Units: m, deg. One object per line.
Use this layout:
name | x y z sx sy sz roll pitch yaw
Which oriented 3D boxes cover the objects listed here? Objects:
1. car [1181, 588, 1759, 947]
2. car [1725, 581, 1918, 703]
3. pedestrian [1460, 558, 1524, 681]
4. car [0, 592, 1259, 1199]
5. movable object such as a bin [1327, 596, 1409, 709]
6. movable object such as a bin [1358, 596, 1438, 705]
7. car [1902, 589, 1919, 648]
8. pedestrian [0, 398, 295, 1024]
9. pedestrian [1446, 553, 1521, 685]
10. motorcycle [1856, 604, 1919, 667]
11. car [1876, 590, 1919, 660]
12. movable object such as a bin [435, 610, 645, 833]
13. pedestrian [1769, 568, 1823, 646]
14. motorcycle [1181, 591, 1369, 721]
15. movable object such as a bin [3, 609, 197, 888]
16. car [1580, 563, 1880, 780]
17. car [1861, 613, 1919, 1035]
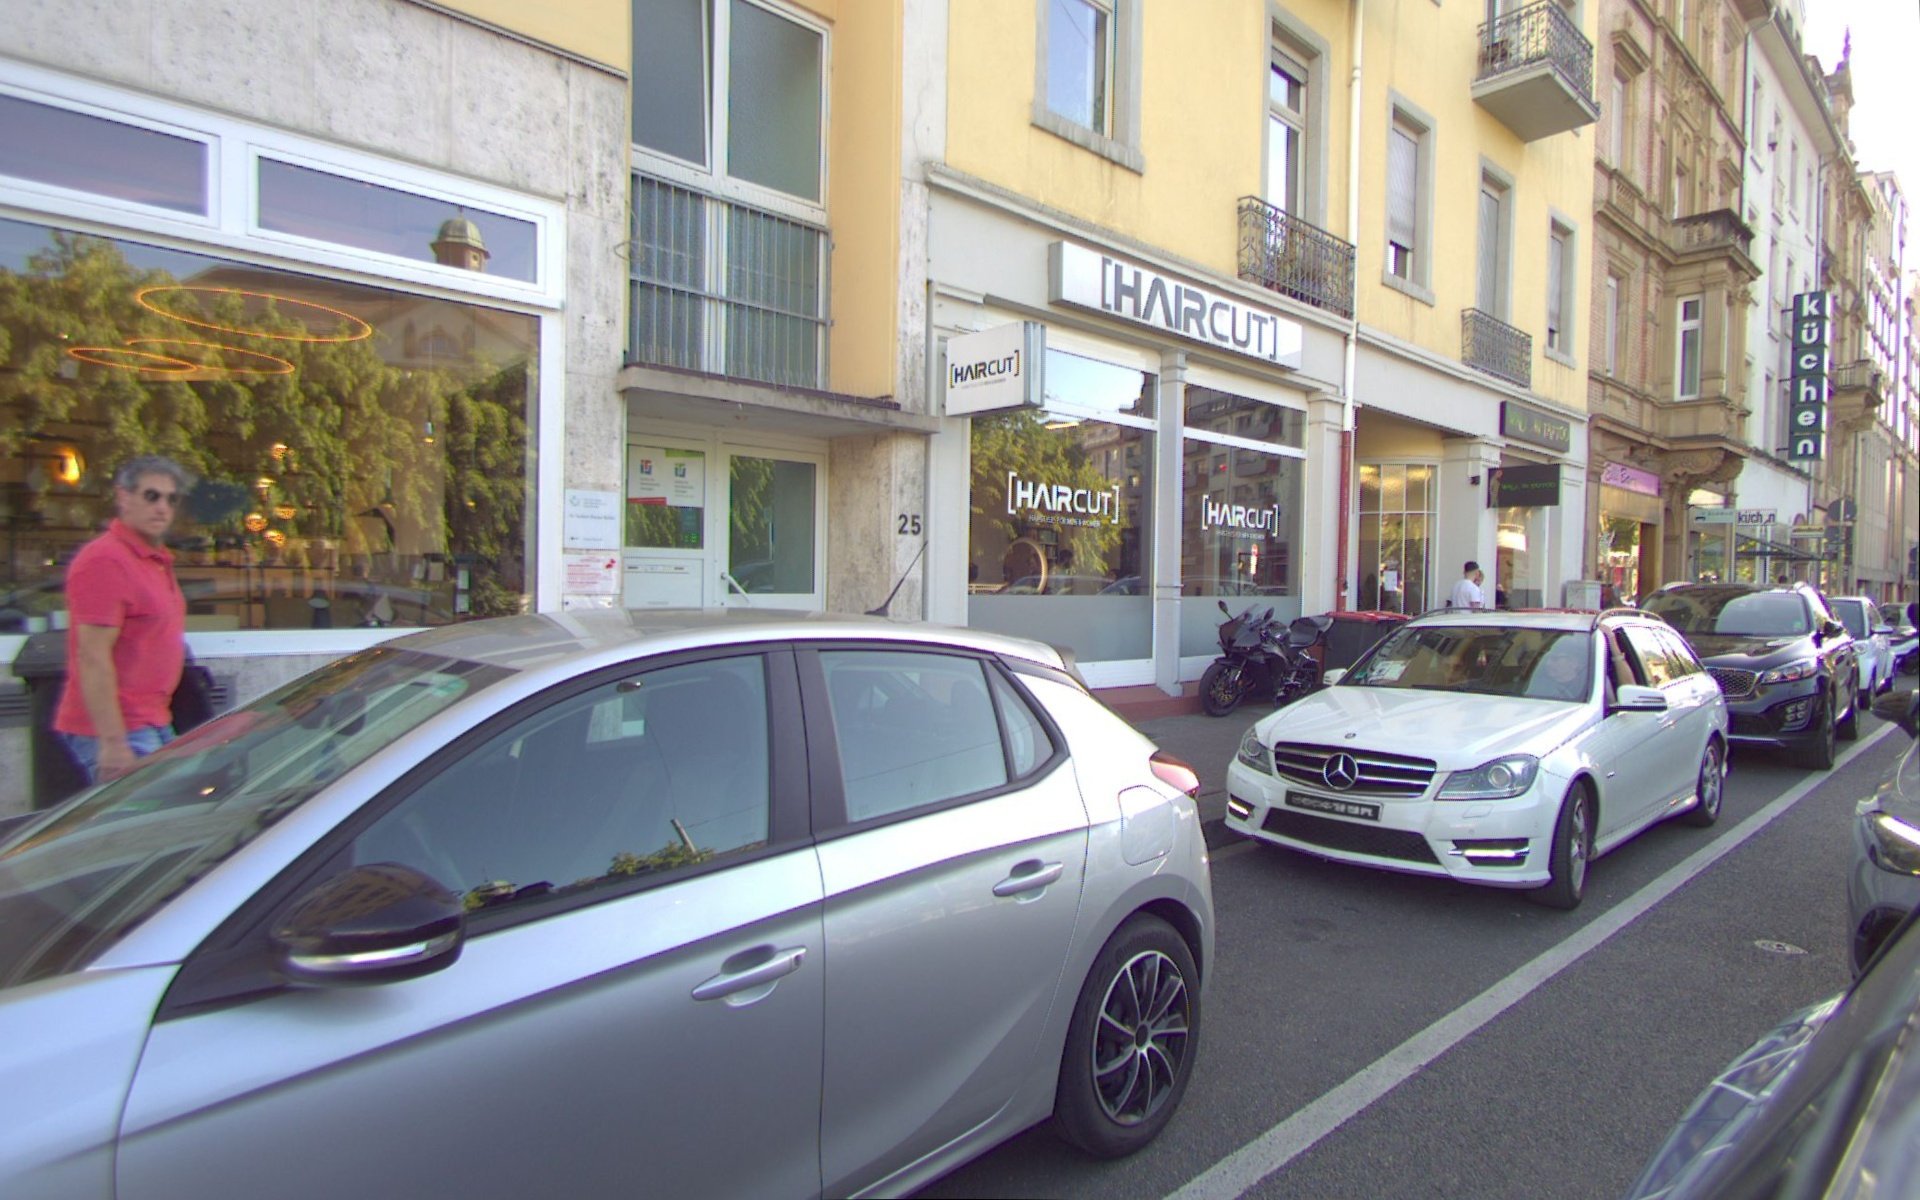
car | 3.464 0.680 6.390 4.519 1.480 1.757 0 1 -42
car | 12.645 0.532 14.815 2.965 1.587 1.695 0 1 -40
pedestrian | 7.309 0.256 13.904 0.631 1.637 0.572 0 0 -40
car | -1.036 0.701 2.317 3.642 1.415 1.652 0 1 -42
movable object such as a bin | 4.633 0.573 11.498 0.633 1.222 0.647 0 0 -40
movable object such as a bin | 5.143 0.567 11.887 0.633 1.222 0.647 0 0 -40
car | 26.397 0.486 26.859 3.931 1.504 1.713 0 1 -42
pedestrian | -2.826 0.301 3.369 0.989 1.805 0.868 0 3 -32
pedestrian | 6.714 0.225 12.988 0.689 1.637 0.641 0 0 -42
motorcycle | 19.284 0.712 20.516 1.514 1.248 0.771 1 0 1
car | 22.252 0.537 23.009 3.931 1.504 1.713 0 1 -42
movable object such as a bin | -2.305 0.603 5.550 0.878 1.066 0.752 0 1 -40
pedestrian | 17.986 0.135 21.786 0.750 1.637 0.794 0 1 -43
motorcycle | 3.317 0.524 10.525 2.208 1.179 0.773 0 4 -41
movable object such as a bin | -3.699 0.574 4.379 0.591 1.041 0.812 0 1 -40
car | 8.005 0.537 10.333 1.853 1.719 4.623 1 1 45
car | 5.303 0.770 4.254 4.183 1.396 1.846 0 1 -42
